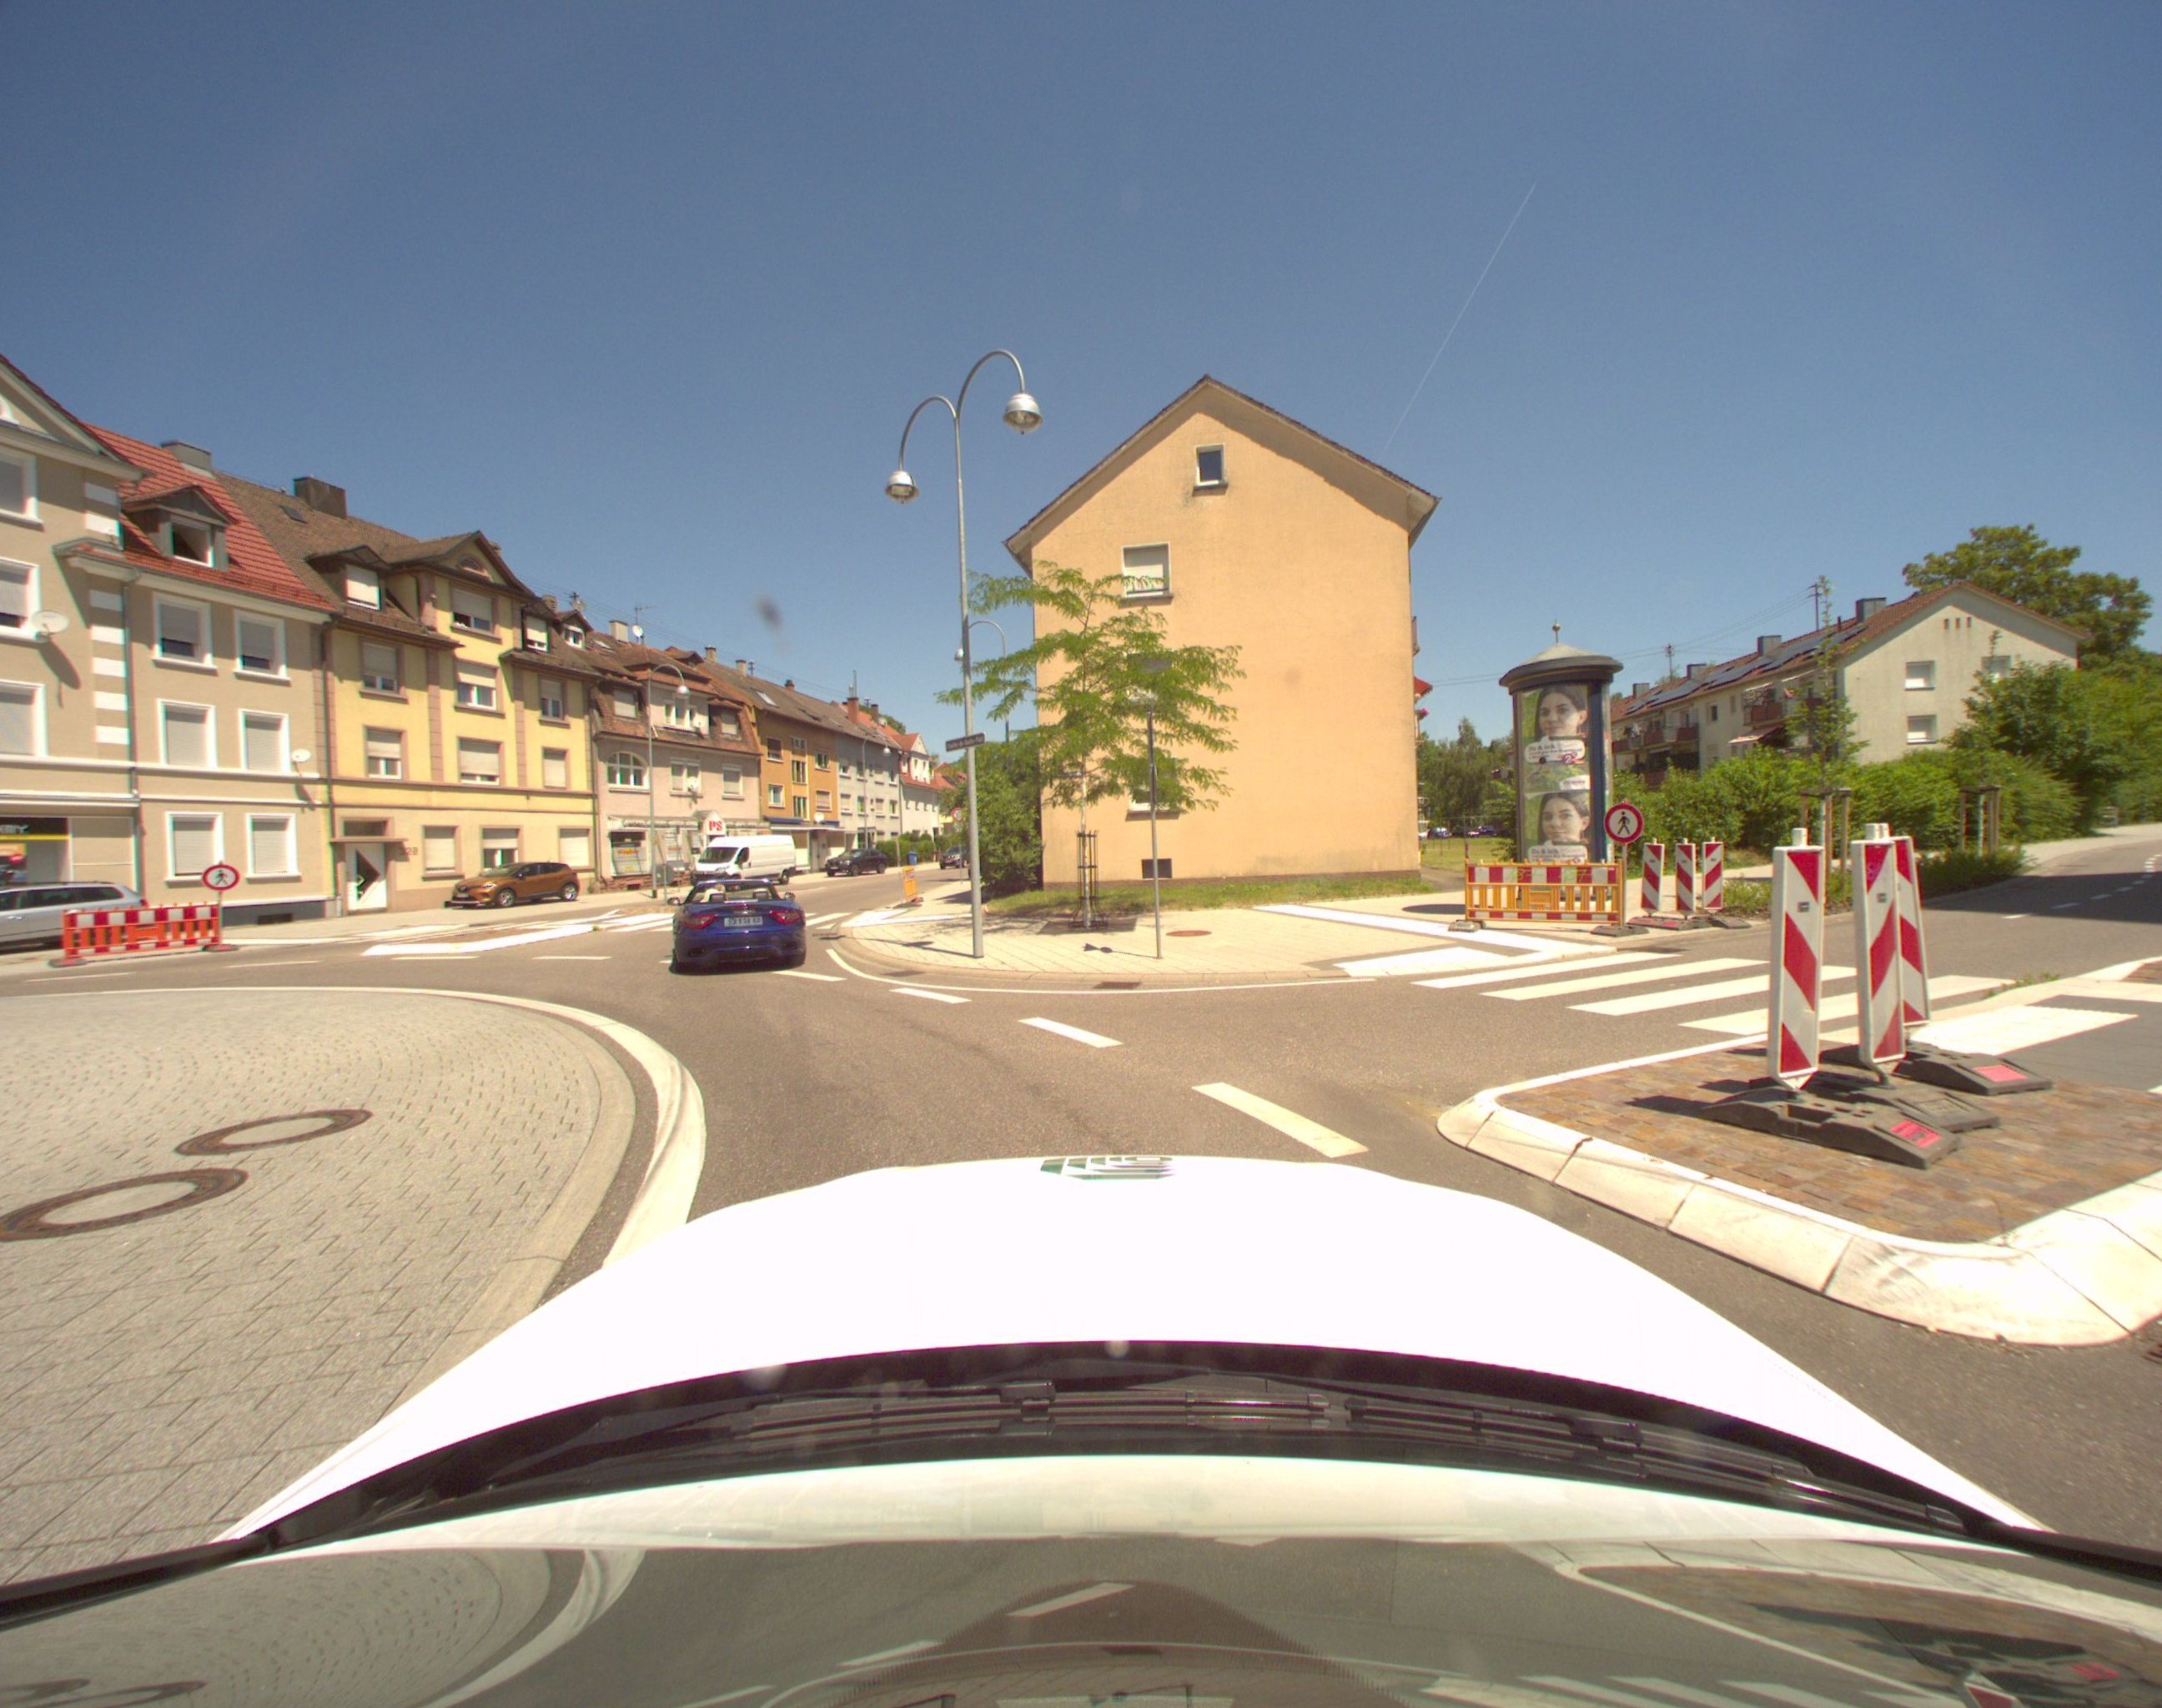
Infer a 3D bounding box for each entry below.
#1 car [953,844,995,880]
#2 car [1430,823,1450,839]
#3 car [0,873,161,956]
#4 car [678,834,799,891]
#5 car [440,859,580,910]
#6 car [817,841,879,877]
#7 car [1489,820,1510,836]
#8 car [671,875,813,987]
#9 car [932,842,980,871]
[{"bbox_3d":[-5.400,0.346,41.525,1.875,1.631,3.587,-1,2,-4],"label":"car"},{"bbox_3d":[36.389,-2.325,82.530,1.723,1.436,3.732,-4,0,25],"label":"car"},{"bbox_3d":[-24.264,1.383,18.098,1.763,1.685,4.712,-2,1,14],"label":"car"},{"bbox_3d":[-16.269,0.311,39.204,2.130,2.532,6.258,0,1,12],"label":"car"},{"bbox_3d":[-20.621,1.046,29.651,1.587,1.616,4.107,0,1,14],"label":"car"},{"bbox_3d":[-14.125,0.251,49.581,2.056,2.013,4.010,-2,0,8],"label":"car"},{"bbox_3d":[43.211,-2.683,84.153,1.723,1.436,3.732,-4,0,25],"label":"car"},{"bbox_3d":[-5.855,1.150,13.727,1.881,1.530,4.466,0,-2,-27],"label":"car"},{"bbox_3d":[-8.656,0.130,56.785,1.982,1.814,4.223,-4,0,8],"label":"car"}]
